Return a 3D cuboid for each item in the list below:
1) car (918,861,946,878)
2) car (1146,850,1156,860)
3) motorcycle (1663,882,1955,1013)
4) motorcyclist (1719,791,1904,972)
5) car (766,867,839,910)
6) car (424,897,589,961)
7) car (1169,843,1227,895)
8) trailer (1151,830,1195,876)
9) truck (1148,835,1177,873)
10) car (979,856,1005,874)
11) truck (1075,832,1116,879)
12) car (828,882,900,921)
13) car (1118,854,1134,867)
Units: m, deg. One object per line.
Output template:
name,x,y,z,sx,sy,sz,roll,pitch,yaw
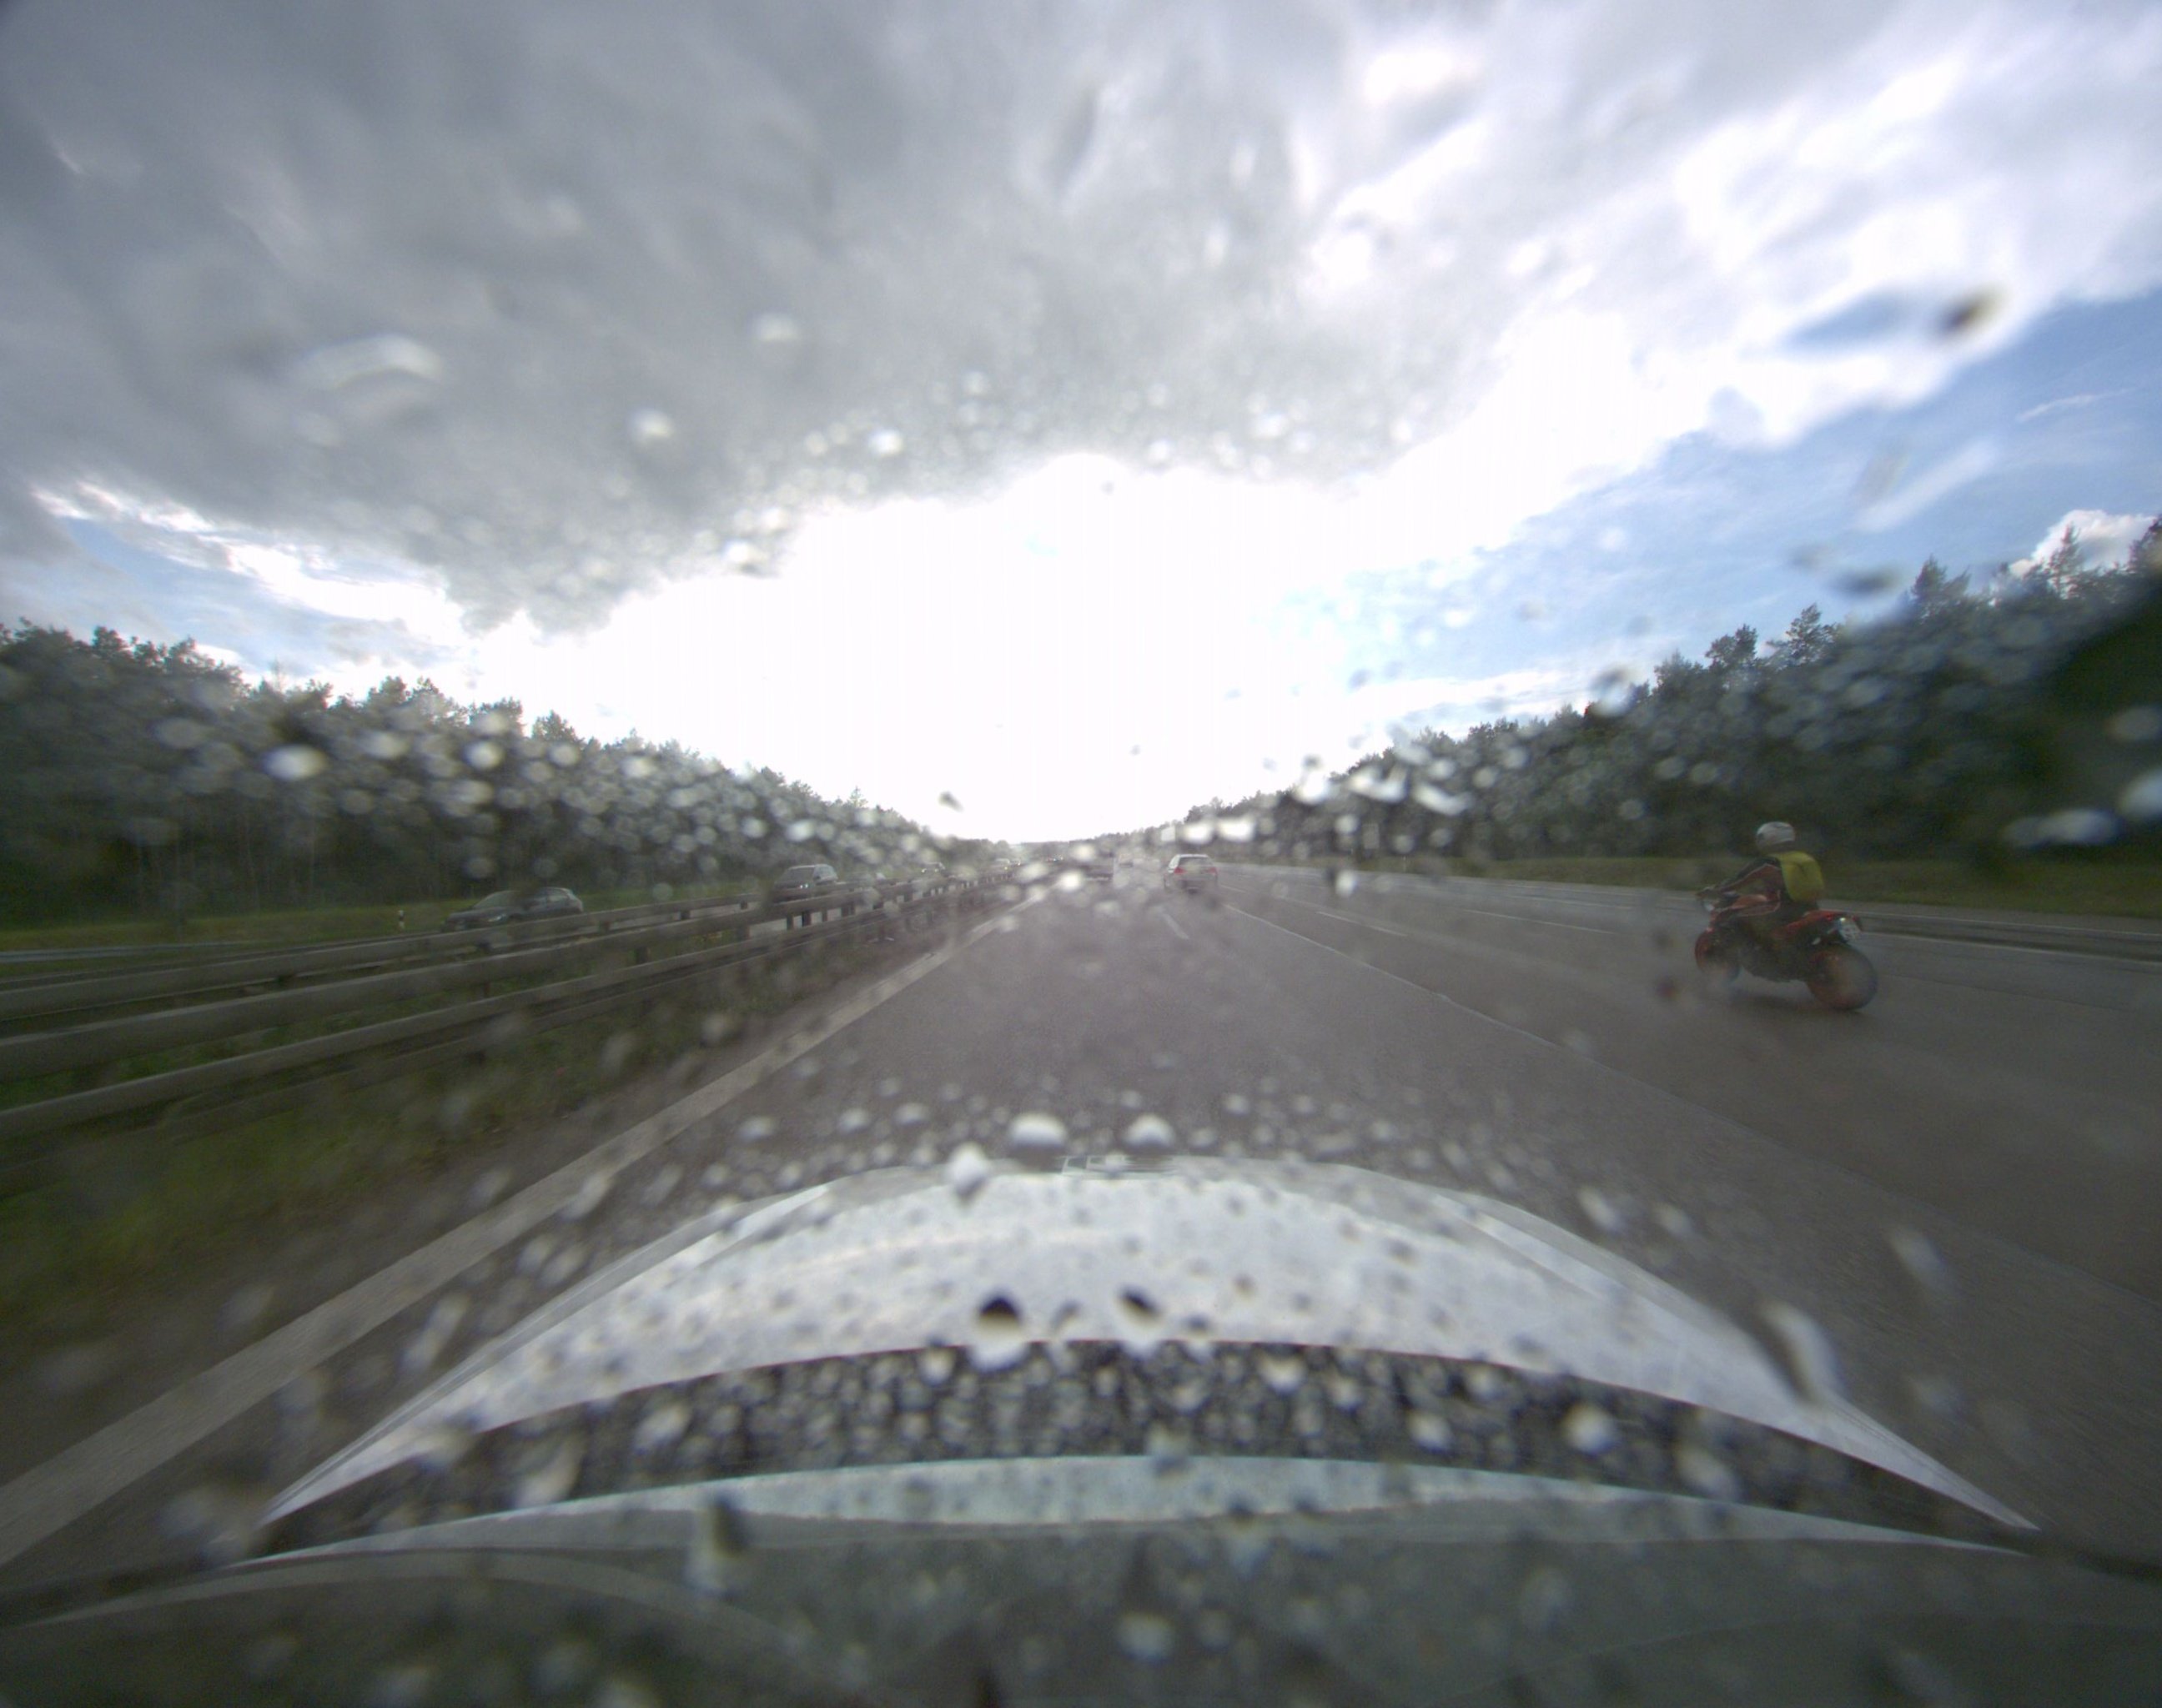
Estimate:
car,-15.233,1.538,83.530,1.893,1.547,4.514,-4,0,1
car,15.424,0.212,178.518,1.986,2.013,4.002,0,0,2
motorcycle,6.986,0.836,8.041,0.996,1.031,2.175,-1,0,3
motorcyclist,6.960,0.251,7.822,0.888,1.614,0.959,-1,0,2
car,-12.662,1.536,37.324,1.718,1.683,4.138,-4,0,1
car,-16.698,2.126,23.961,1.718,1.396,4.185,-4,0,1
car,4.639,0.560,32.998,2.068,1.885,5.019,-1,0,5
trailer,8.751,-0.055,78.929,2.317,4.001,13.403,-1,0,-1
truck,8.596,0.026,85.964,2.287,3.868,5.388,-1,0,-2
car,-7.610,0.929,70.183,1.687,1.376,4.001,-2,0,1
truck,0.815,0.077,46.052,2.130,2.489,5.313,-1,0,1
car,-8.769,1.887,33.235,1.688,1.260,4.064,-3,0,1
car,5.471,0.755,98.781,1.823,1.466,4.003,-1,0,3
